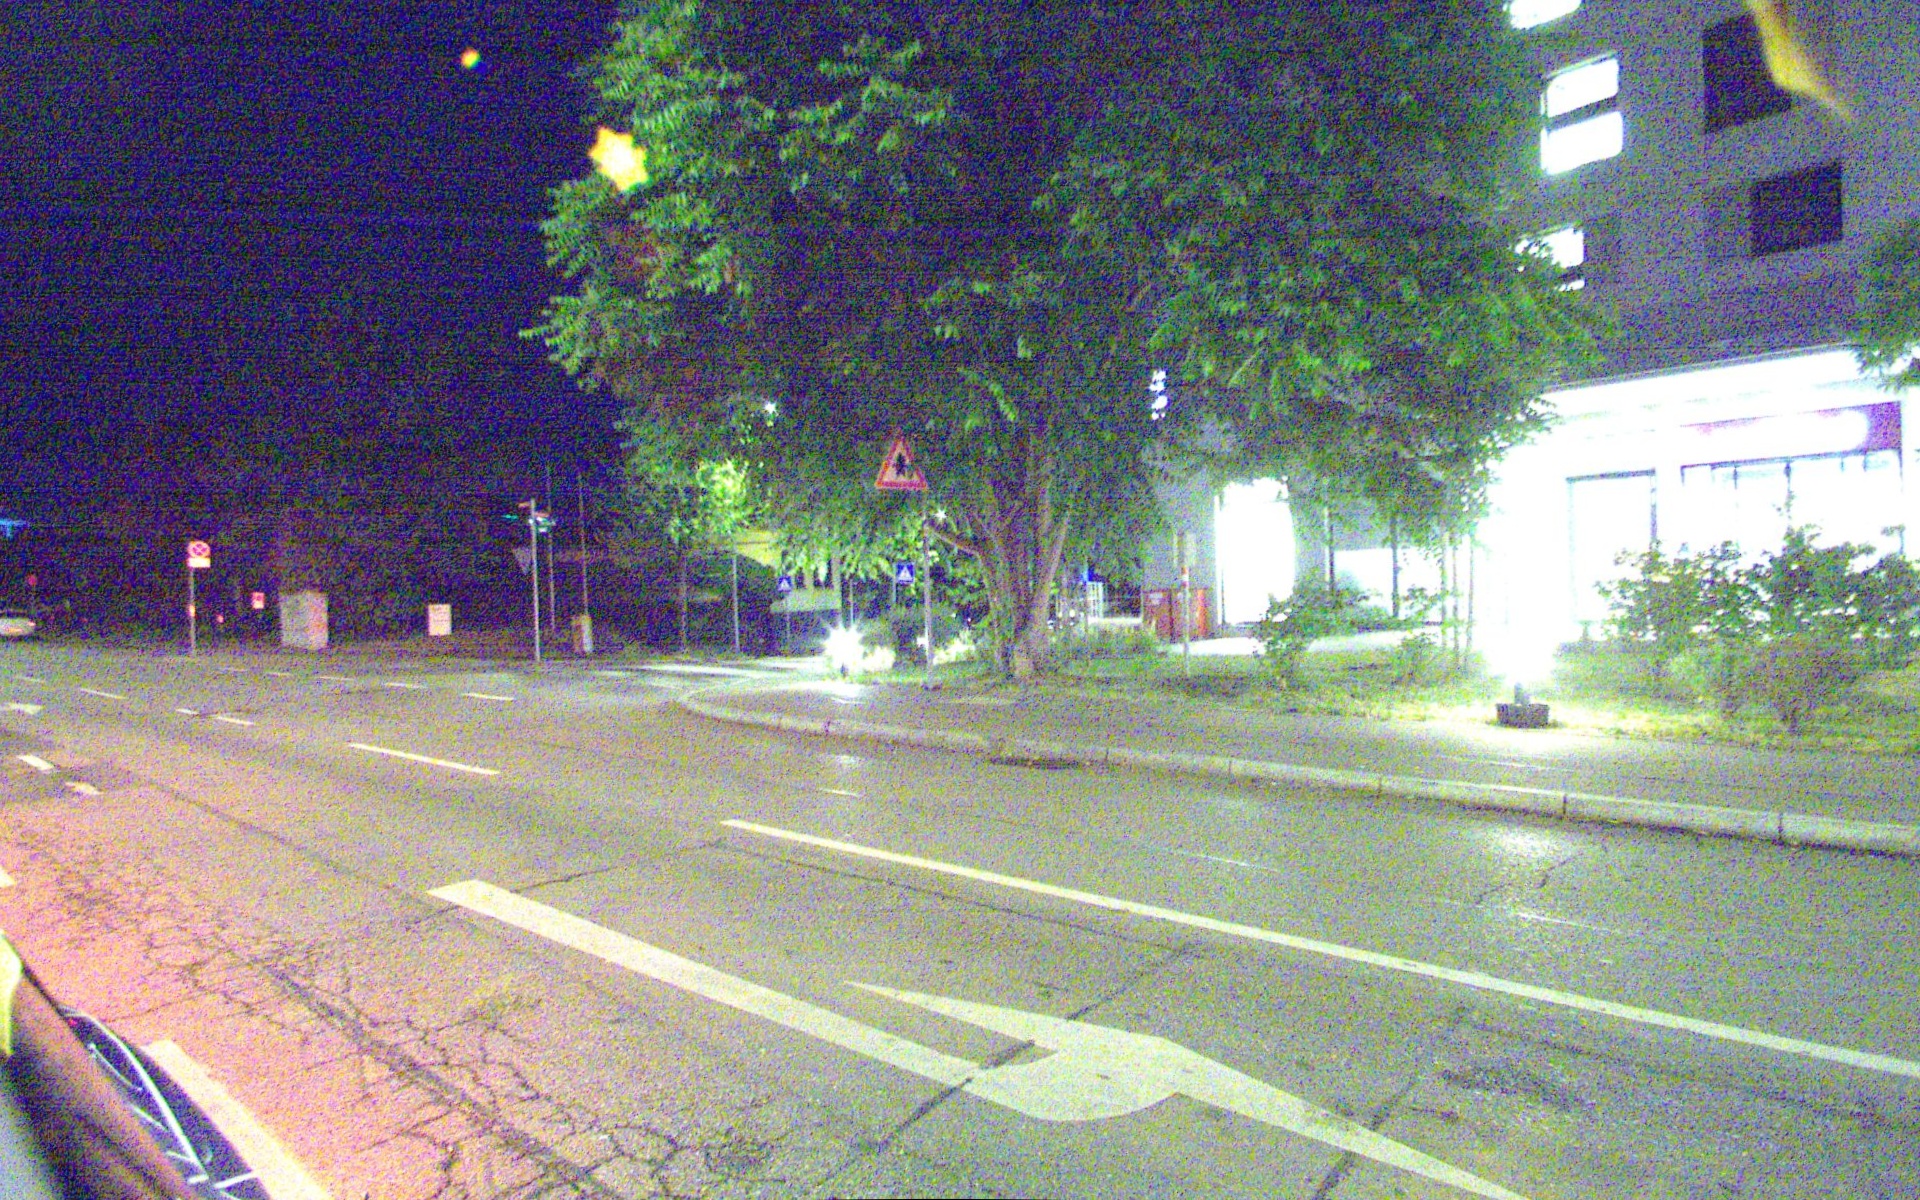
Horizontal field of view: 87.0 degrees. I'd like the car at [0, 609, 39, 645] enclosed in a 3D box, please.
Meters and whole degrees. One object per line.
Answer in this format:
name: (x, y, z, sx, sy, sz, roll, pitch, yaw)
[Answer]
car: (-43.270, 1.198, 45.803, 3.998, 1.464, 1.887, 1, 2, 41)
